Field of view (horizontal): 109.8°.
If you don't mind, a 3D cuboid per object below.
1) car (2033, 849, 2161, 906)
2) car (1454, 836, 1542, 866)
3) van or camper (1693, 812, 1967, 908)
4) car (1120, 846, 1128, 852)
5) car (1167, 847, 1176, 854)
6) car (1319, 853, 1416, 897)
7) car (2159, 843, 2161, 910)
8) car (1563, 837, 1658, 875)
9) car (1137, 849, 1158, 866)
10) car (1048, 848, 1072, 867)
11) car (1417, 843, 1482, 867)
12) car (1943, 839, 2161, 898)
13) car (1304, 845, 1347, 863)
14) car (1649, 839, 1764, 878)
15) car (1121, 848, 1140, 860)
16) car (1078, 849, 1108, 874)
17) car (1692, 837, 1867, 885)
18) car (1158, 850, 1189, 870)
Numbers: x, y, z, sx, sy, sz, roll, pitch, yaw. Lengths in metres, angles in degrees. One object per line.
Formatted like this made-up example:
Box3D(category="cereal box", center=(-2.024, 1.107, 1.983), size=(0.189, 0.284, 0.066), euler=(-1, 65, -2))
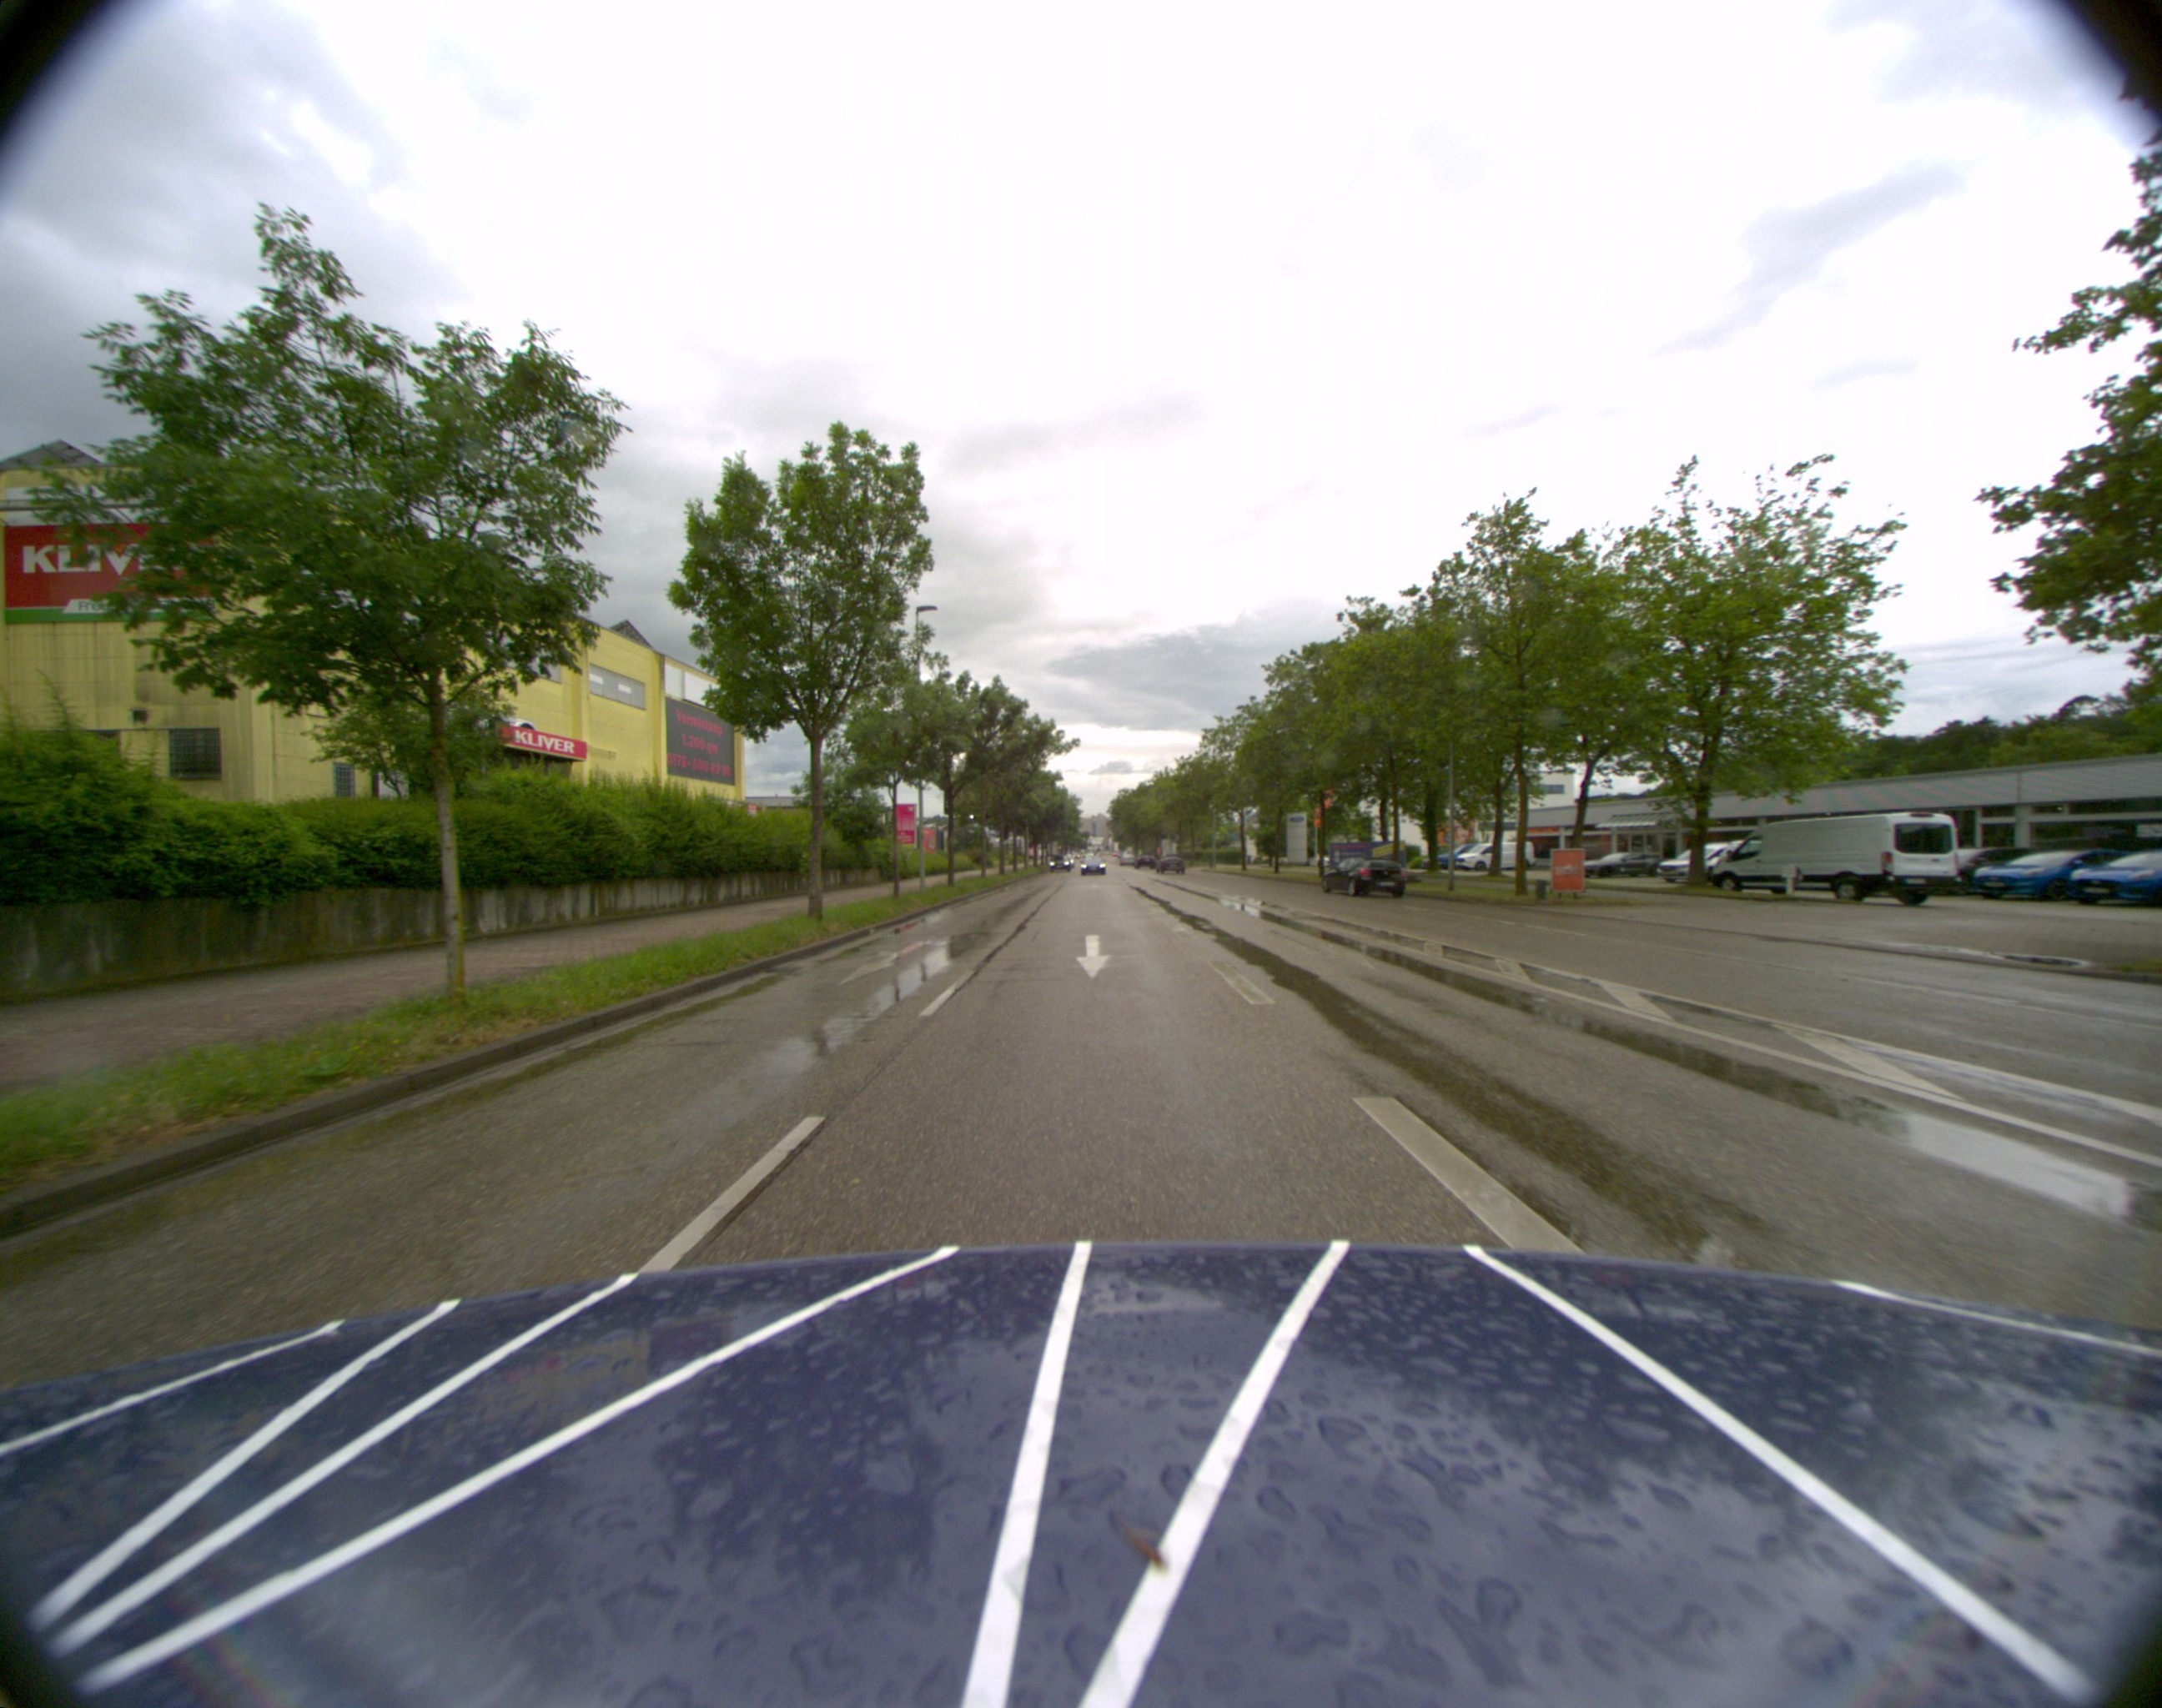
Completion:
Box3D(category="car", center=(29.924, 0.636, 21.105), size=(3.992, 1.512, 1.867), euler=(-1, 1, 15))
Box3D(category="car", center=(29.471, -0.191, 53.828), size=(5.058, 2.002, 2.129), euler=(-1, 1, -1))
Box3D(category="van or camper", center=(22.437, 0.135, 23.345), size=(1.999, 2.456, 6.400), euler=(-2, 0, -1))
Box3D(category="car", center=(12.094, -1.389, 214.152), size=(1.916, 1.795, 5.340), euler=(0, 0, -1))
Box3D(category="car", center=(20.226, -0.878, 169.779), size=(1.746, 1.525, 4.000), euler=(1, 1, 2))
Box3D(category="car", center=(10.160, 0.705, 27.322), size=(1.741, 1.421, 4.537), euler=(0, 1, 0))
Box3D(category="car", center=(30.014, 0.576, 18.530), size=(3.992, 1.756, 1.867), euler=(-1, 1, 17))
Box3D(category="car", center=(29.292, 0.110, 42.148), size=(3.997, 2.002, 1.882), euler=(-1, 1, -2))
Box3D(category="car", center=(6.402, 0.312, 73.536), size=(1.767, 1.522, 3.858), euler=(1, 1, 1))
Box3D(category="car", center=(-1.914, 0.317, 72.048), size=(1.998, 1.632, 4.360), euler=(-3, 1, 1))
Box3D(category="car", center=(29.000, 0.037, 59.826), size=(4.136, 1.803, 2.065), euler=(-1, 1, 2))
Box3D(category="car", center=(30.210, 0.439, 23.708), size=(3.992, 1.756, 1.867), euler=(-1, 1, 16))
Box3D(category="car", center=(21.918, -0.024, 68.304), size=(2.123, 1.487, 5.246), euler=(-1, 0, 0))
Box3D(category="car", center=(29.598, 0.214, 36.038), size=(3.997, 1.756, 1.882), euler=(-1, 1, -2))
Box3D(category="car", center=(6.116, 0.014, 94.485), size=(1.999, 1.421, 4.684), euler=(0, 1, -1))
Box3D(category="car", center=(0.900, 0.544, 56.163), size=(1.998, 1.632, 4.360), euler=(-3, 1, 1))
Box3D(category="car", center=(29.656, 0.291, 32.403), size=(5.390, 1.892, 2.415), euler=(-1, 1, -3))
Box3D(category="car", center=(6.880, 0.440, 56.885), size=(1.671, 1.454, 4.179), euler=(0, 1, -3))
